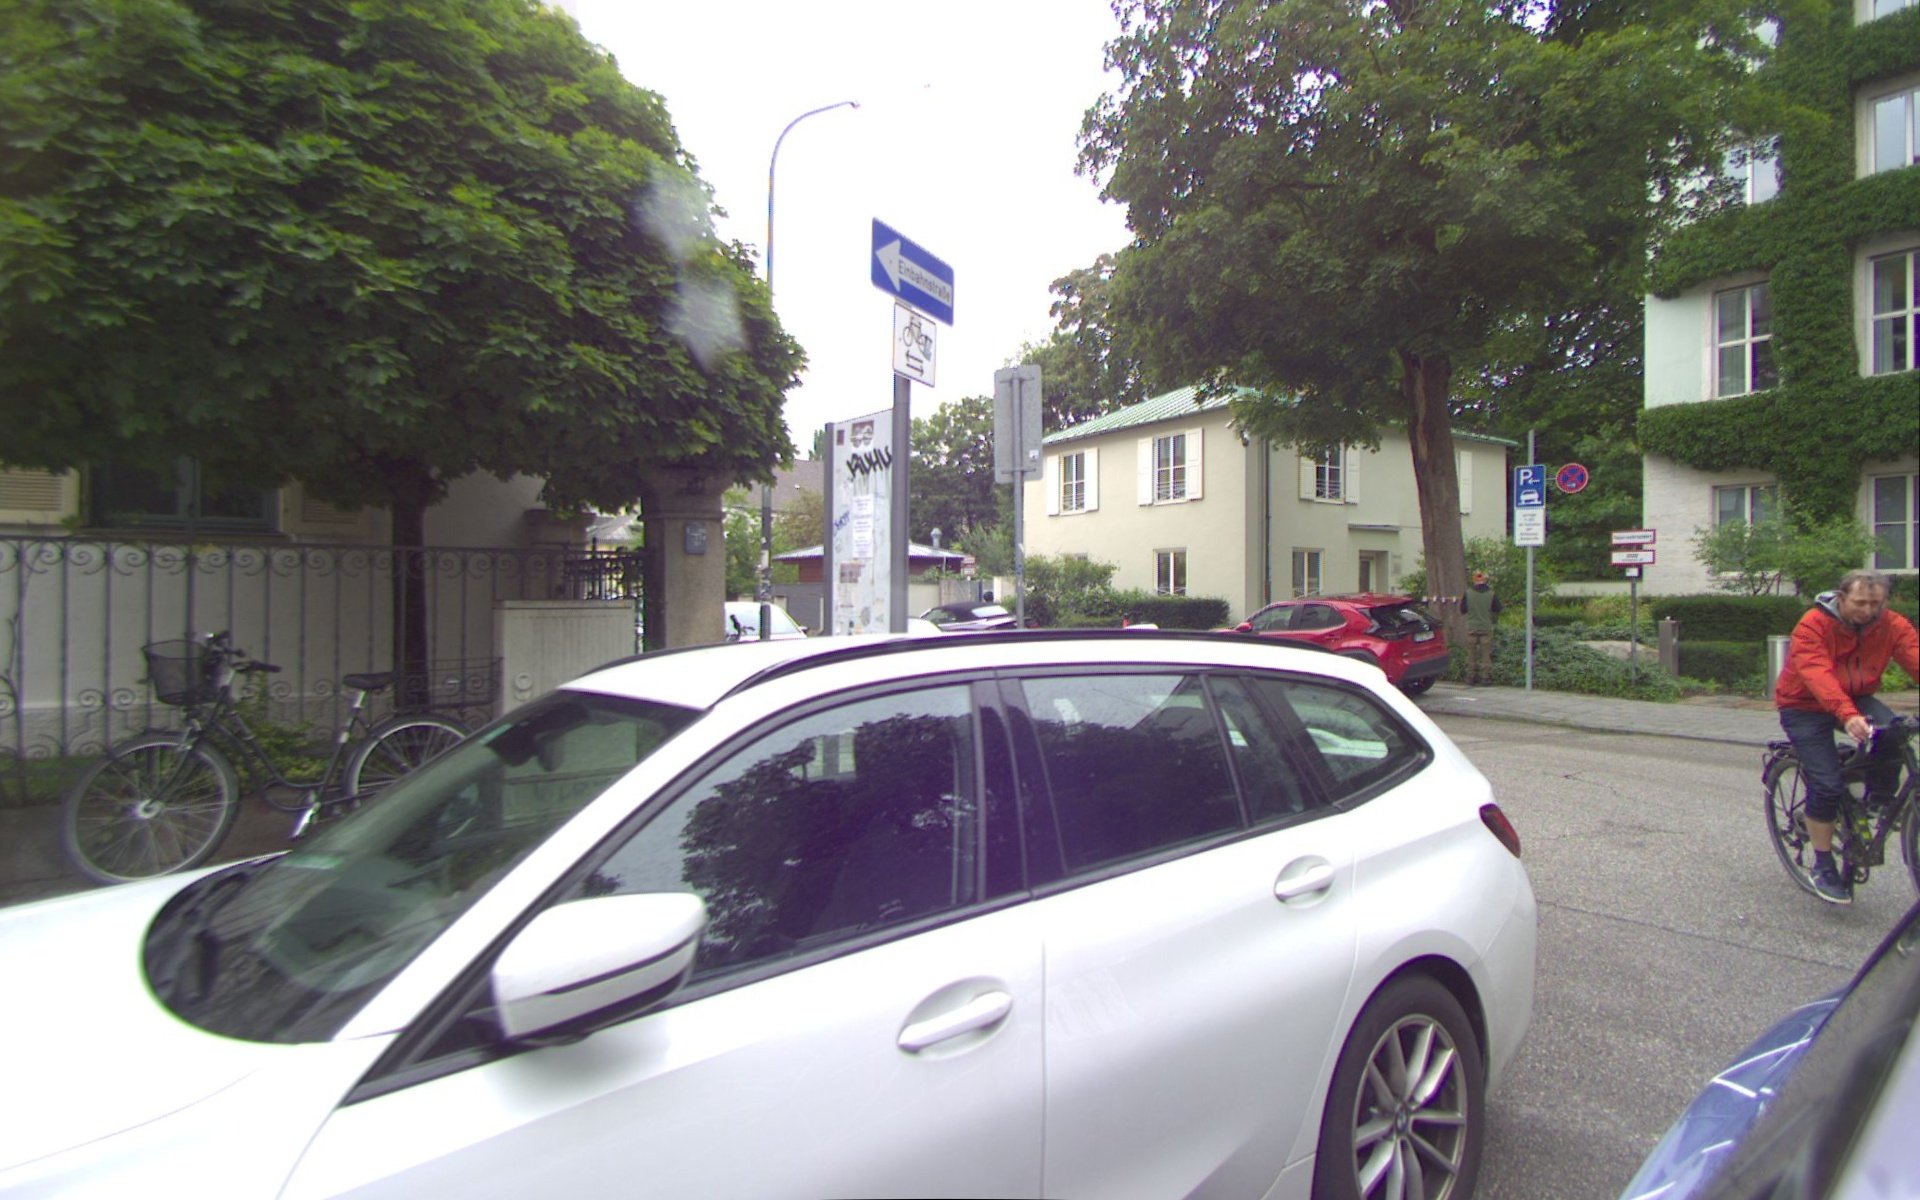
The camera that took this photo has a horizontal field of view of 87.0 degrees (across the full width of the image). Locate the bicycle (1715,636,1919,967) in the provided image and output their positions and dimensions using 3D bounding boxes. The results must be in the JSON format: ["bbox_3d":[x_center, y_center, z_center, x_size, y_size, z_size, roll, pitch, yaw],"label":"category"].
[{"bbox_3d":[4.300,0.804,4.718,0.666,1.156,1.998,-1,1,20],"label":"bicycle"}]

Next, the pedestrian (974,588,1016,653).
[{"bbox_3d":[0.868,0.490,25.262,0.703,1.568,0.752,-2,1,-38],"label":"pedestrian"}]

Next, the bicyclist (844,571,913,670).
[{"bbox_3d":[-1.456,0.355,18.009,0.766,1.688,1.034,-1,-1,-35],"label":"bicyclist"}]

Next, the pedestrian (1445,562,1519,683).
[{"bbox_3d":[8.388,0.342,16.261,0.701,1.876,0.797,-1,0,-35],"label":"pedestrian"}]

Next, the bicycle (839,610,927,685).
[{"bbox_3d":[-1.393,0.821,17.930,0.707,1.222,1.800,-1,-1,-35],"label":"bicycle"}]

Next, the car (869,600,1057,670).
[{"bbox_3d":[-0.051,0.748,23.853,1.780,1.419,4.920,-2,1,-38],"label":"car"}]

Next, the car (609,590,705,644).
[{"bbox_3d":[-12.241,0.648,40.677,1.937,2.015,5.147,-2,1,-38],"label":"car"}]

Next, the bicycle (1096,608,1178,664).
[{"bbox_3d":[3.847,0.758,22.140,0.638,1.145,2.049,0,-1,-28],"label":"bicycle"}]

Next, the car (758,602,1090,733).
[{"bbox_3d":[-0.665,0.737,12.776,1.968,1.336,4.594,3,-2,-35],"label":"car"}]

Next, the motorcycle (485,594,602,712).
[{"bbox_3d":[-5.726,0.655,13.782,0.844,1.451,2.705,0,0,-37],"label":"motorcycle"}]

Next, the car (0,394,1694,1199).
[{"bbox_3d":[-0.395,0.644,2.349,4.829,1.552,1.912,0,-3,-36],"label":"car"}]

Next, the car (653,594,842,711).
[{"bbox_3d":[-3.597,0.763,16.676,1.743,1.564,3.712,-5,3,-33],"label":"car"}]

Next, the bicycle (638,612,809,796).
[{"bbox_3d":[-1.880,0.734,7.876,0.534,1.241,1.774,1,0,-40],"label":"bicycle"}]

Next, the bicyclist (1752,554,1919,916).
[{"bbox_3d":[4.269,0.549,4.607,0.747,1.501,0.975,-1,1,20],"label":"bicyclist"}]

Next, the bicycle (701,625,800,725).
[{"bbox_3d":[-2.563,0.858,12.227,0.651,1.077,1.941,1,-1,-28],"label":"bicycle"}]

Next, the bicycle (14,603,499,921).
[{"bbox_3d":[-3.344,0.679,4.990,1.884,1.292,0.467,-1,-1,-38],"label":"bicycle"}]

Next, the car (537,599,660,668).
[{"bbox_3d":[-9.015,0.769,25.000,1.809,1.551,4.416,1,-1,-34],"label":"car"}]

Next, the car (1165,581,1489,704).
[{"bbox_3d":[5.557,0.567,15.900,1.858,1.610,4.527,-2,1,-35],"label":"car"}]

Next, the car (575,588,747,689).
[{"bbox_3d":[-6.170,0.695,20.518,1.963,1.728,4.534,-2,1,-35],"label":"car"}]
